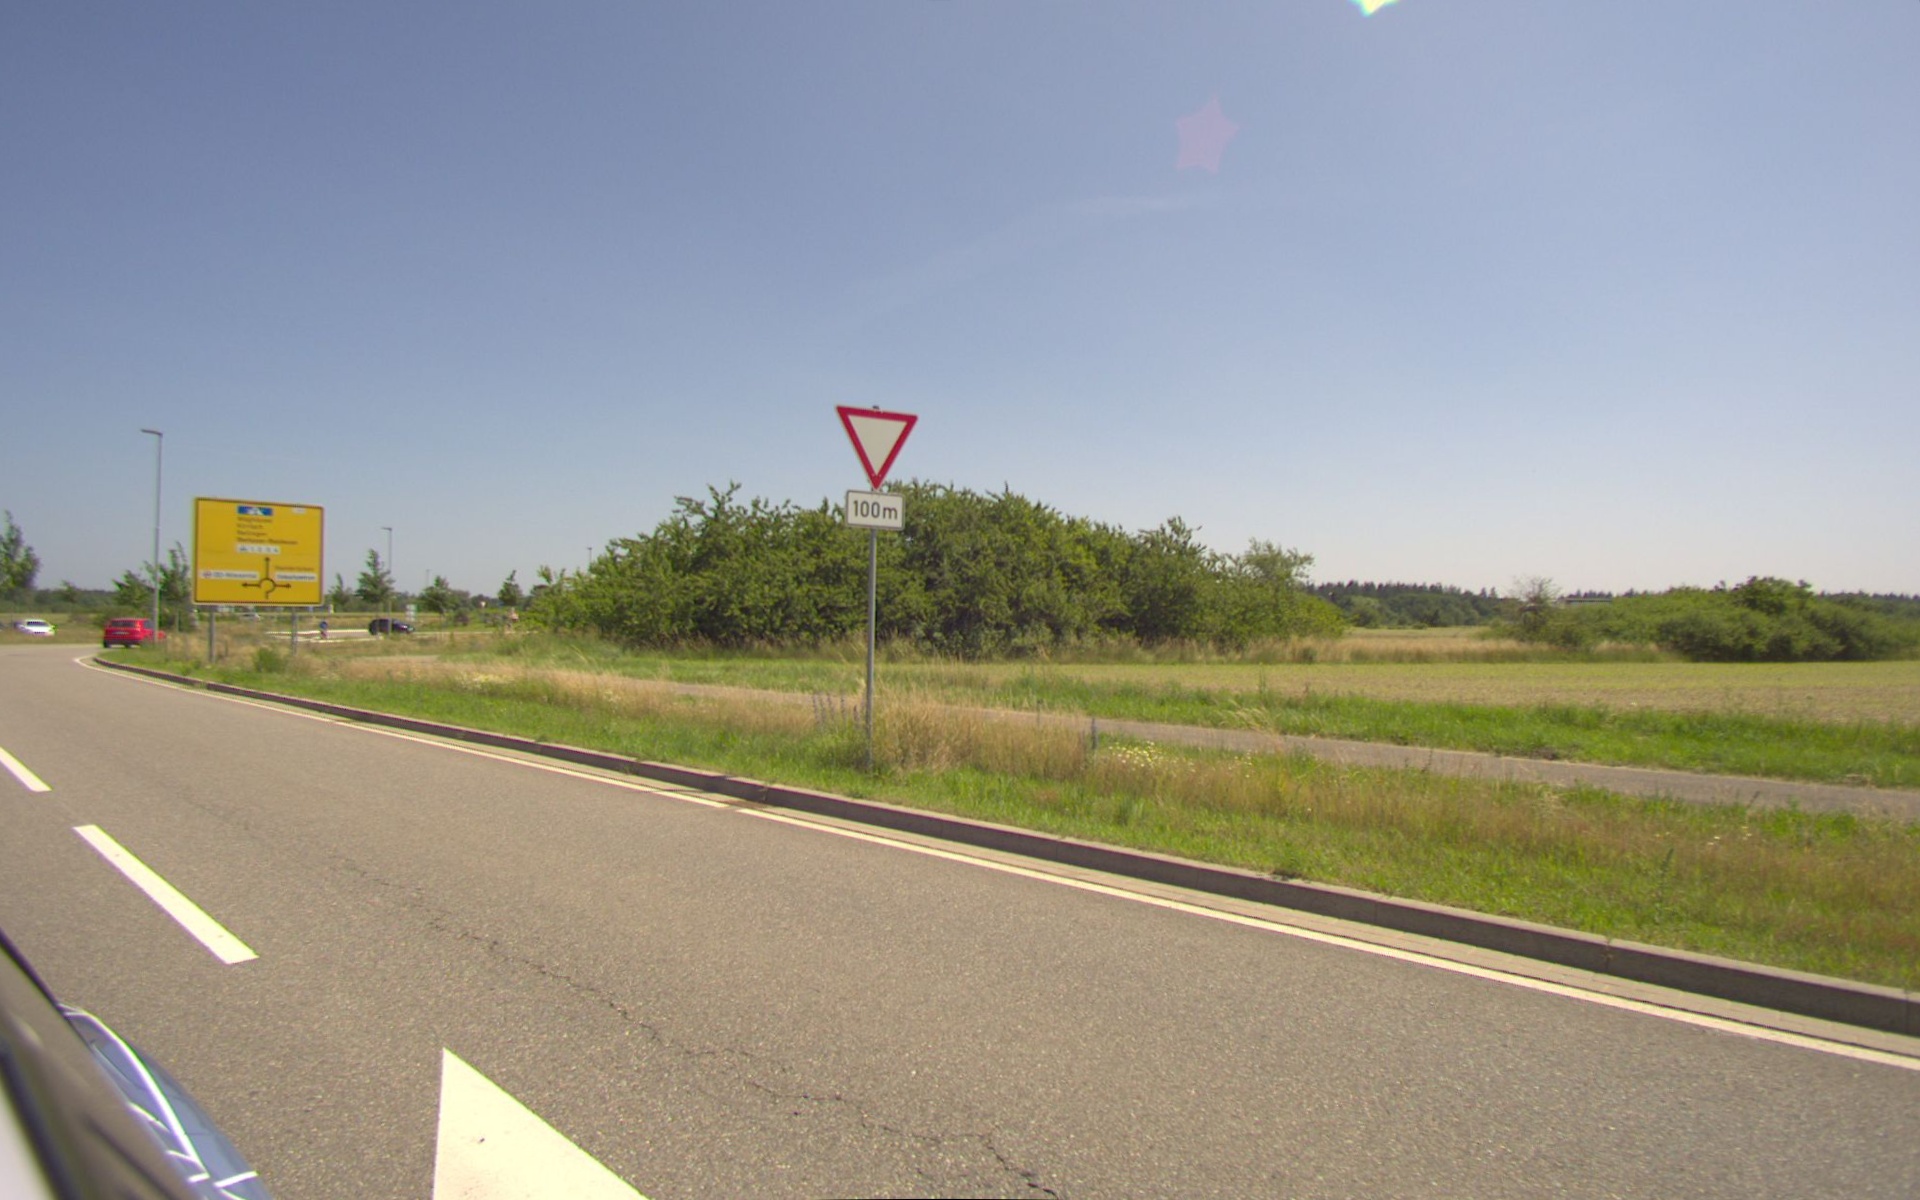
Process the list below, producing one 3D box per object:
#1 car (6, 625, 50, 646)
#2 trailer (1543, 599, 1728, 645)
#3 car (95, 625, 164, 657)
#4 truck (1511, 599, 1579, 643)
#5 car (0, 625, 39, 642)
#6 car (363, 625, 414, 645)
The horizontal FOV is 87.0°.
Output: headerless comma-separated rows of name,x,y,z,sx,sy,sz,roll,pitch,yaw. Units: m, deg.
car,-66.157,2.474,71.805,3.996,1.438,1.724,-1,-2,39
trailer,60.456,1.960,90.953,13.737,3.964,2.633,0,-2,12
car,-40.413,1.996,49.348,1.632,1.444,3.748,2,-3,-25
truck,53.381,1.949,92.443,4.729,3.964,2.633,0,-2,12
car,-73.422,2.593,78.742,3.990,1.321,1.727,-1,-2,34
car,-55.016,3.368,97.390,4.489,1.836,1.856,0,-1,22
